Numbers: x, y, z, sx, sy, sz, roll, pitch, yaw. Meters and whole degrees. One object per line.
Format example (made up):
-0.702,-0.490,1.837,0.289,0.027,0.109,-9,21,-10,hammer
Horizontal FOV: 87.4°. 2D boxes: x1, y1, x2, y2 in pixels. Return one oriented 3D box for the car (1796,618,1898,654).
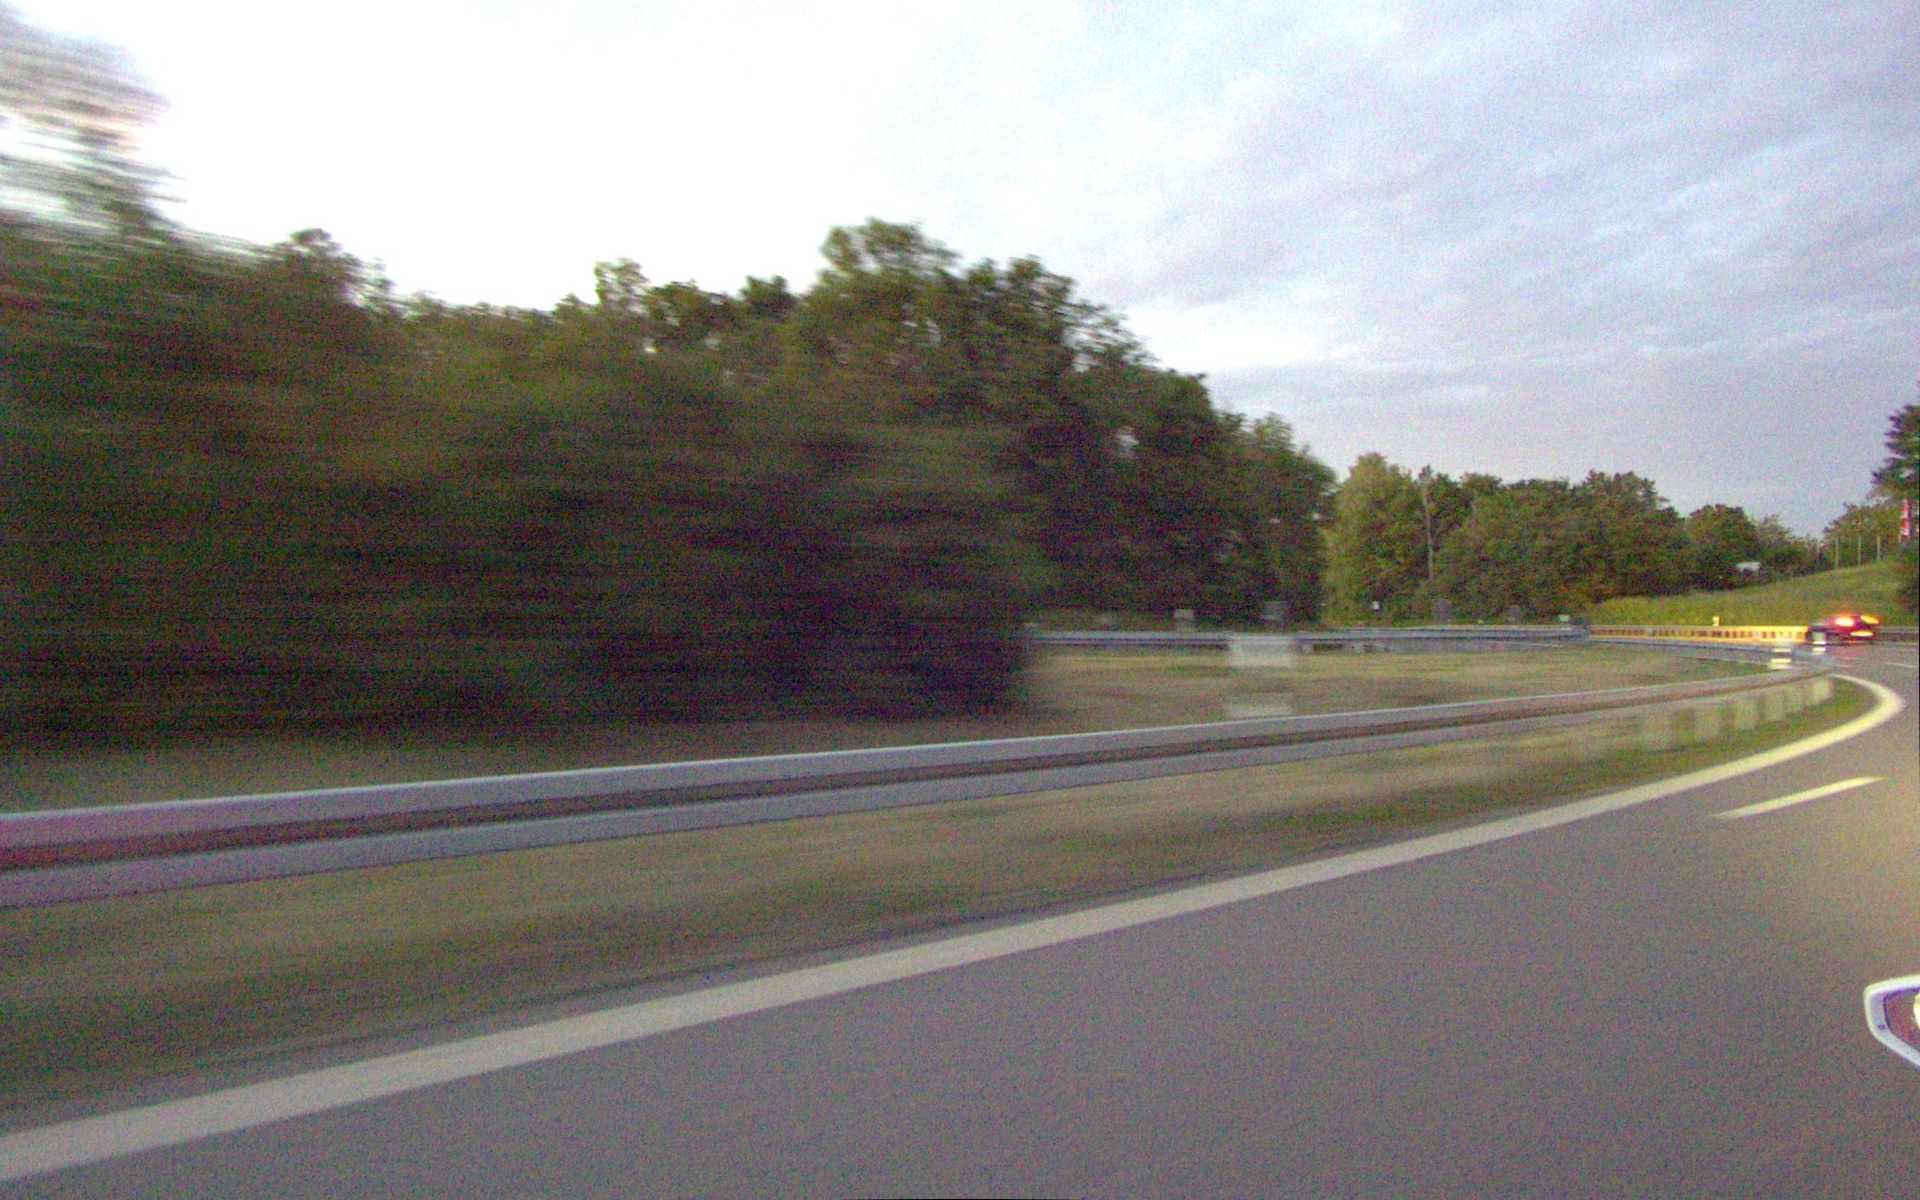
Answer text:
44.462,1.773,50.478,1.959,1.620,4.002,1,1,10,car
